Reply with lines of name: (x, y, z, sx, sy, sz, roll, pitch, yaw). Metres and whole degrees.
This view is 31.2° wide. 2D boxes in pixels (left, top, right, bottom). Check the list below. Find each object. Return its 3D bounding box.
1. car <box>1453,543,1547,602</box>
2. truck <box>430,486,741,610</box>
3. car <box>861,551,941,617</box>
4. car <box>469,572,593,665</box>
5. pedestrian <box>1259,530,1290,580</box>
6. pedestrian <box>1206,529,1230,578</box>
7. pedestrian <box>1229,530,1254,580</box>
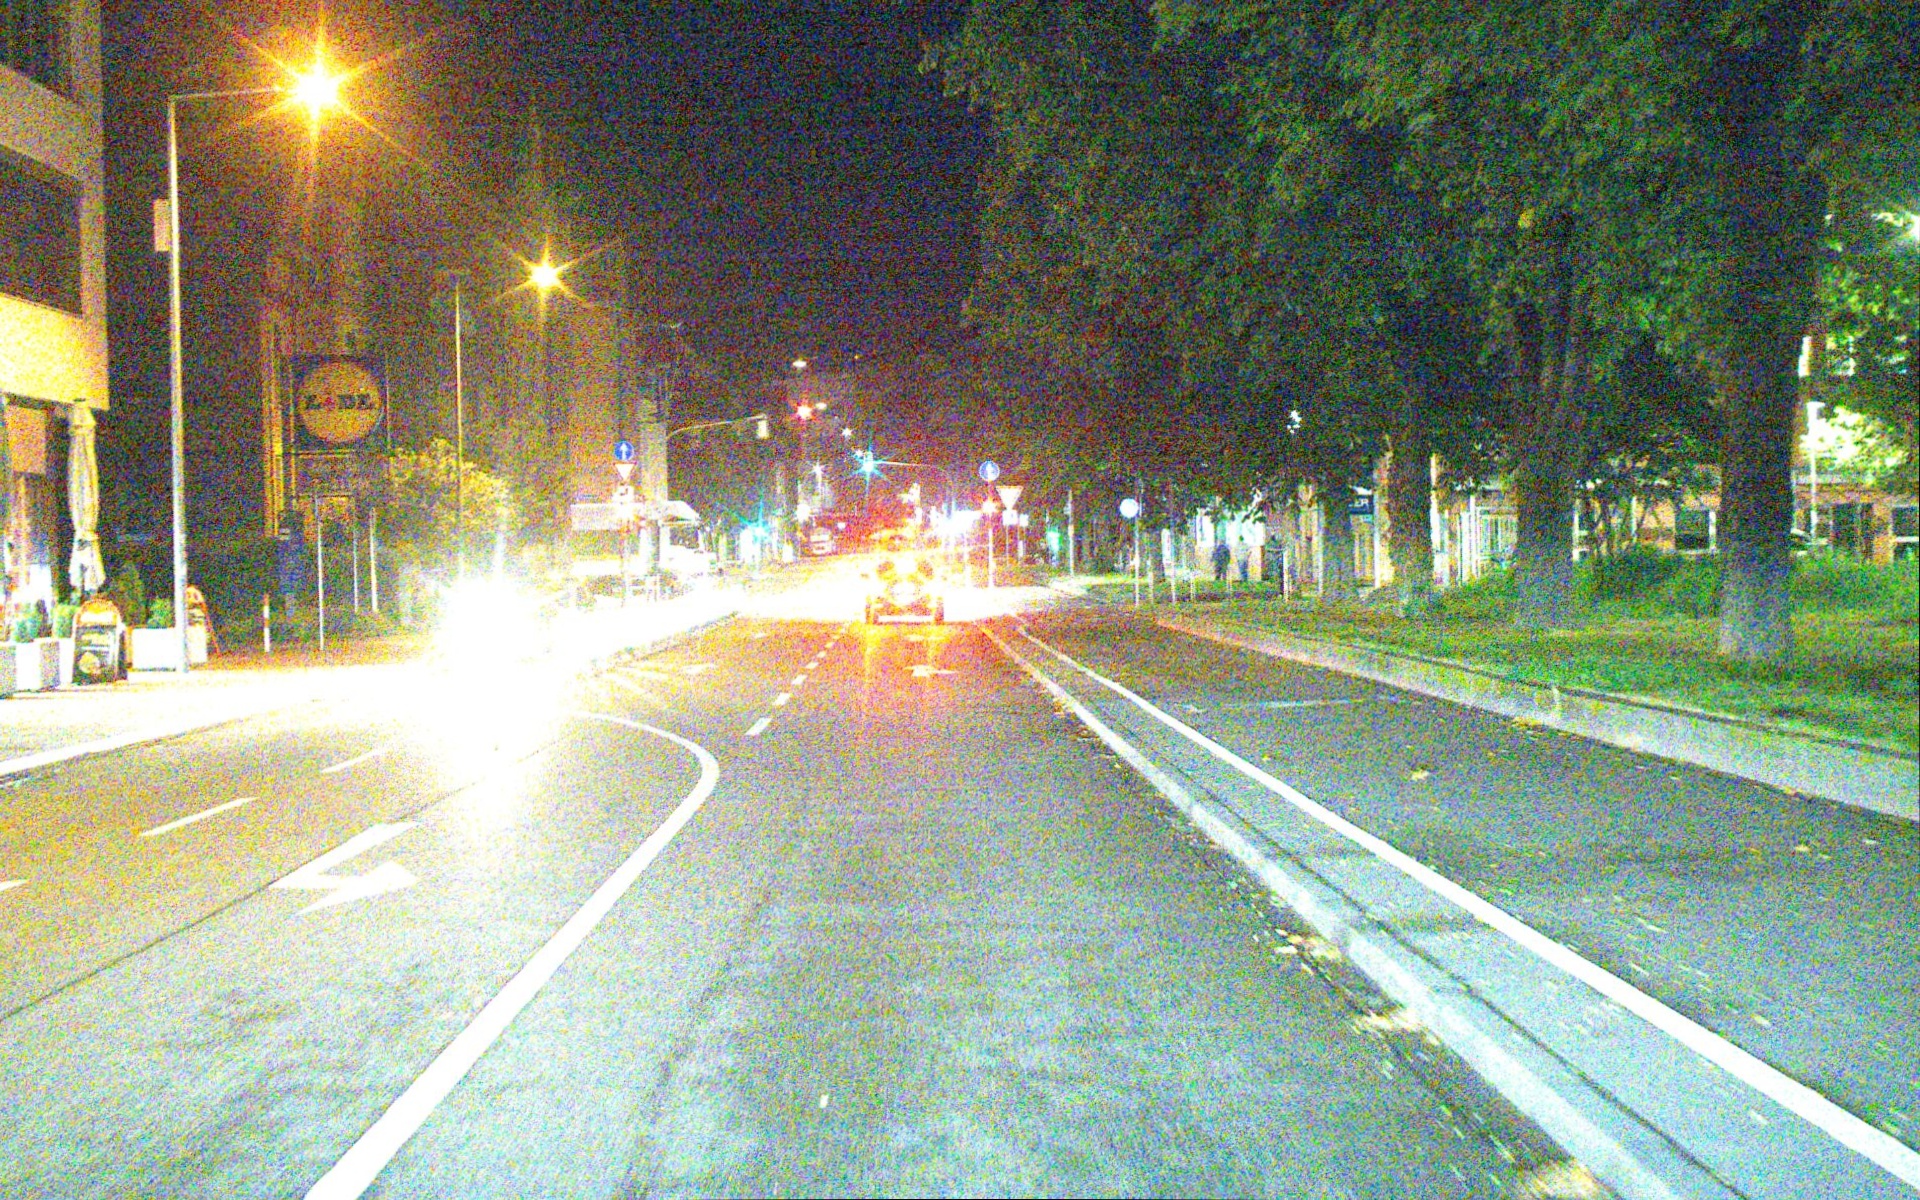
car: (13.537, -0.694, 86.404, 1.512, 1.390, 4.482, -2, 1, -1)
truck: (-12.626, -1.762, 116.449, 10.079, 3.705, 2.764, -3, 1, 1)
car: (-1.372, -0.404, 81.341, 1.805, 1.489, 4.730, 1, 1, 0)
car: (-7.227, 0.286, 58.245, 1.667, 1.423, 4.000, -3, 1, -2)
pedestrian: (11.404, -1.643, 124.718, 0.901, 1.763, 0.907, -2, 1, -6)
pedestrian: (9.355, -1.680, 124.776, 0.714, 1.763, 0.907, -2, 1, -1)
pedestrian: (10.209, -1.631, 124.695, 0.738, 1.763, 0.907, -2, 1, -1)
